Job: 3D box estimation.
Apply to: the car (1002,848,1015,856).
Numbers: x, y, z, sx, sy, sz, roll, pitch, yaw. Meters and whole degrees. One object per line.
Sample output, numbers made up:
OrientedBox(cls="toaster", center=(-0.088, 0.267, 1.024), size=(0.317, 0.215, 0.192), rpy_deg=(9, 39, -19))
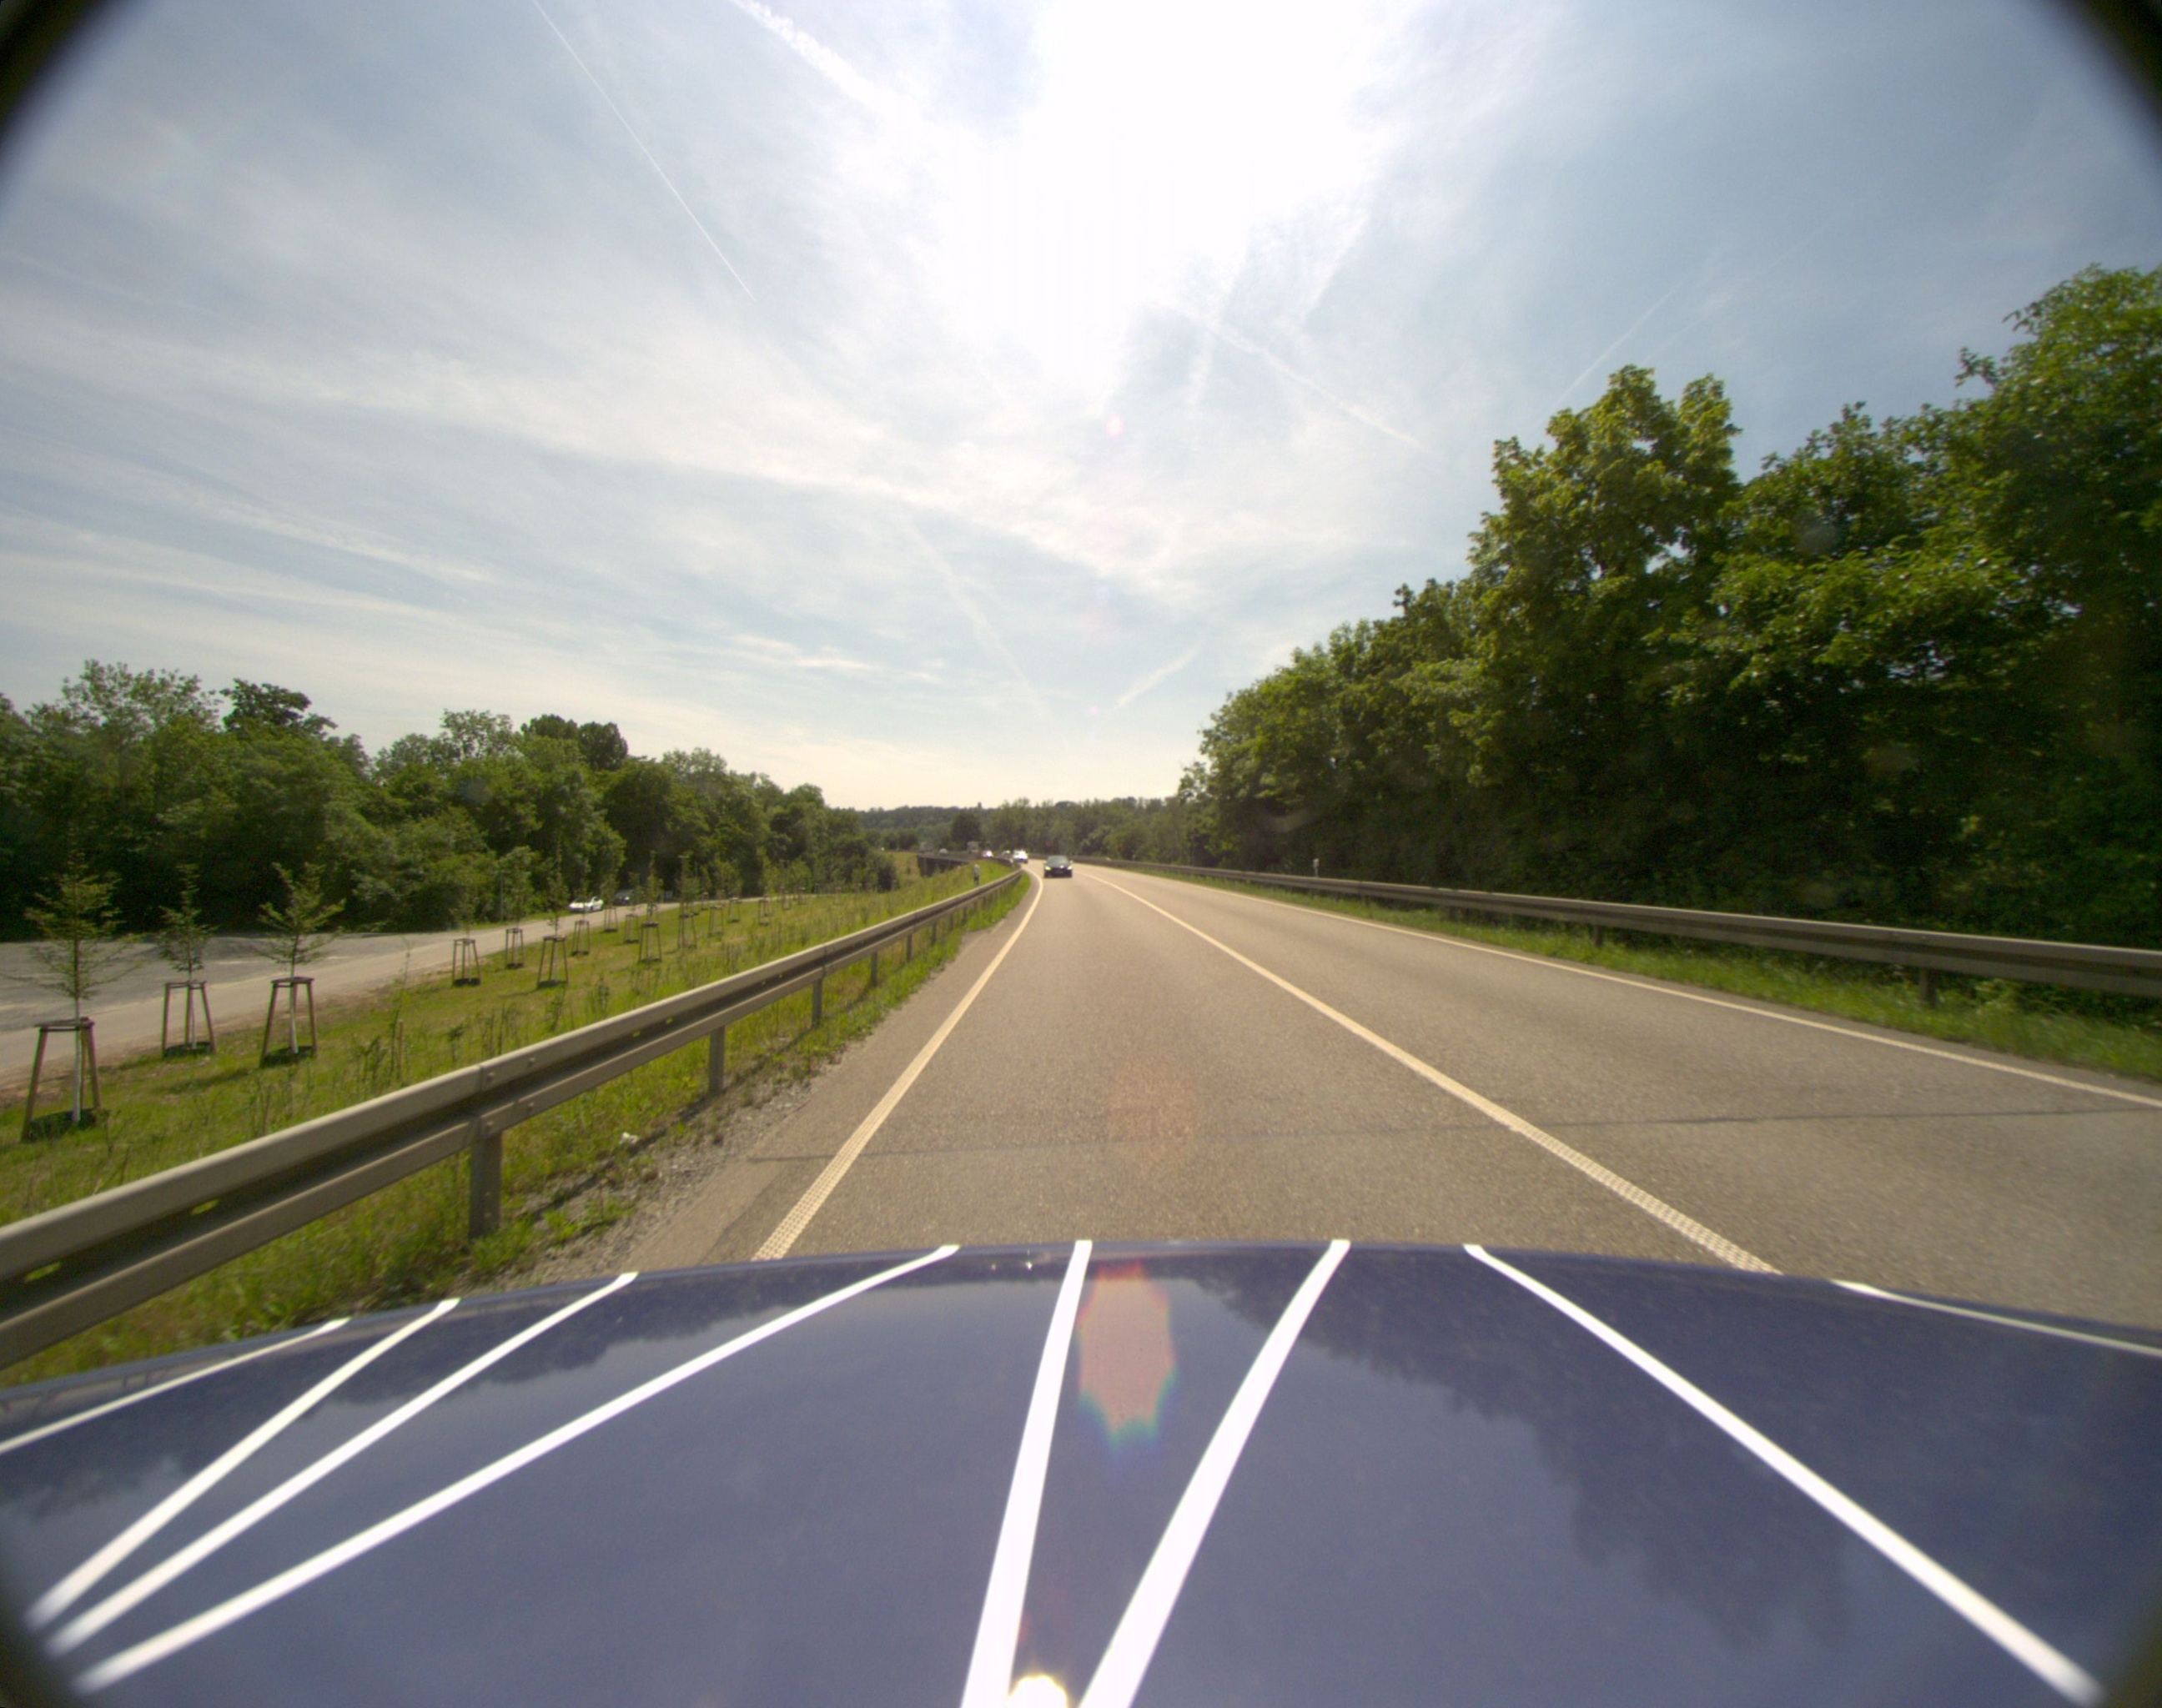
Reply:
OrientedBox(cls="car", center=(-14.702, -0.370, 154.078), size=(1.775, 1.485, 4.163), rpy_deg=(-1, 1, -16))

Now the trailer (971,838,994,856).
OrientedBox(cls="trailer", center=(-24.232, -1.729, 185.514), size=(3.130, 3.957, 15.332), rpy_deg=(-1, 1, -16))

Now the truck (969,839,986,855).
OrientedBox(cls="truck", center=(-26.141, -1.789, 192.125), size=(3.130, 3.935, 6.611), rpy_deg=(-1, 1, -16))

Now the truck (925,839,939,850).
OrientedBox(cls="truck", center=(-49.609, -3.118, 252.668), size=(2.927, 3.782, 9.689), rpy_deg=(-1, 1, -22))

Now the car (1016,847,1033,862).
OrientedBox(cls="car", center=(-7.598, 0.029, 102.337), size=(1.982, 1.779, 3.995), rpy_deg=(-1, 2, -9))

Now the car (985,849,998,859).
OrientedBox(cls="car", center=(-17.413, 0.021, 148.058), size=(1.982, 1.723, 3.994), rpy_deg=(-1, 2, -12))

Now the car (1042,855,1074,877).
OrientedBox(cls="car", center=(-1.575, 0.776, 50.620), size=(1.981, 1.333, 3.998), rpy_deg=(-1, 1, -4))

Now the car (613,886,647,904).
OrientedBox(cls="car", center=(-48.749, 4.395, 82.301), size=(1.864, 1.672, 4.195), rpy_deg=(3, -1, -12))

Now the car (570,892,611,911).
OrientedBox(cls="car", center=(-46.025, 4.467, 71.354), size=(1.865, 1.474, 4.602), rpy_deg=(3, -1, -15))
